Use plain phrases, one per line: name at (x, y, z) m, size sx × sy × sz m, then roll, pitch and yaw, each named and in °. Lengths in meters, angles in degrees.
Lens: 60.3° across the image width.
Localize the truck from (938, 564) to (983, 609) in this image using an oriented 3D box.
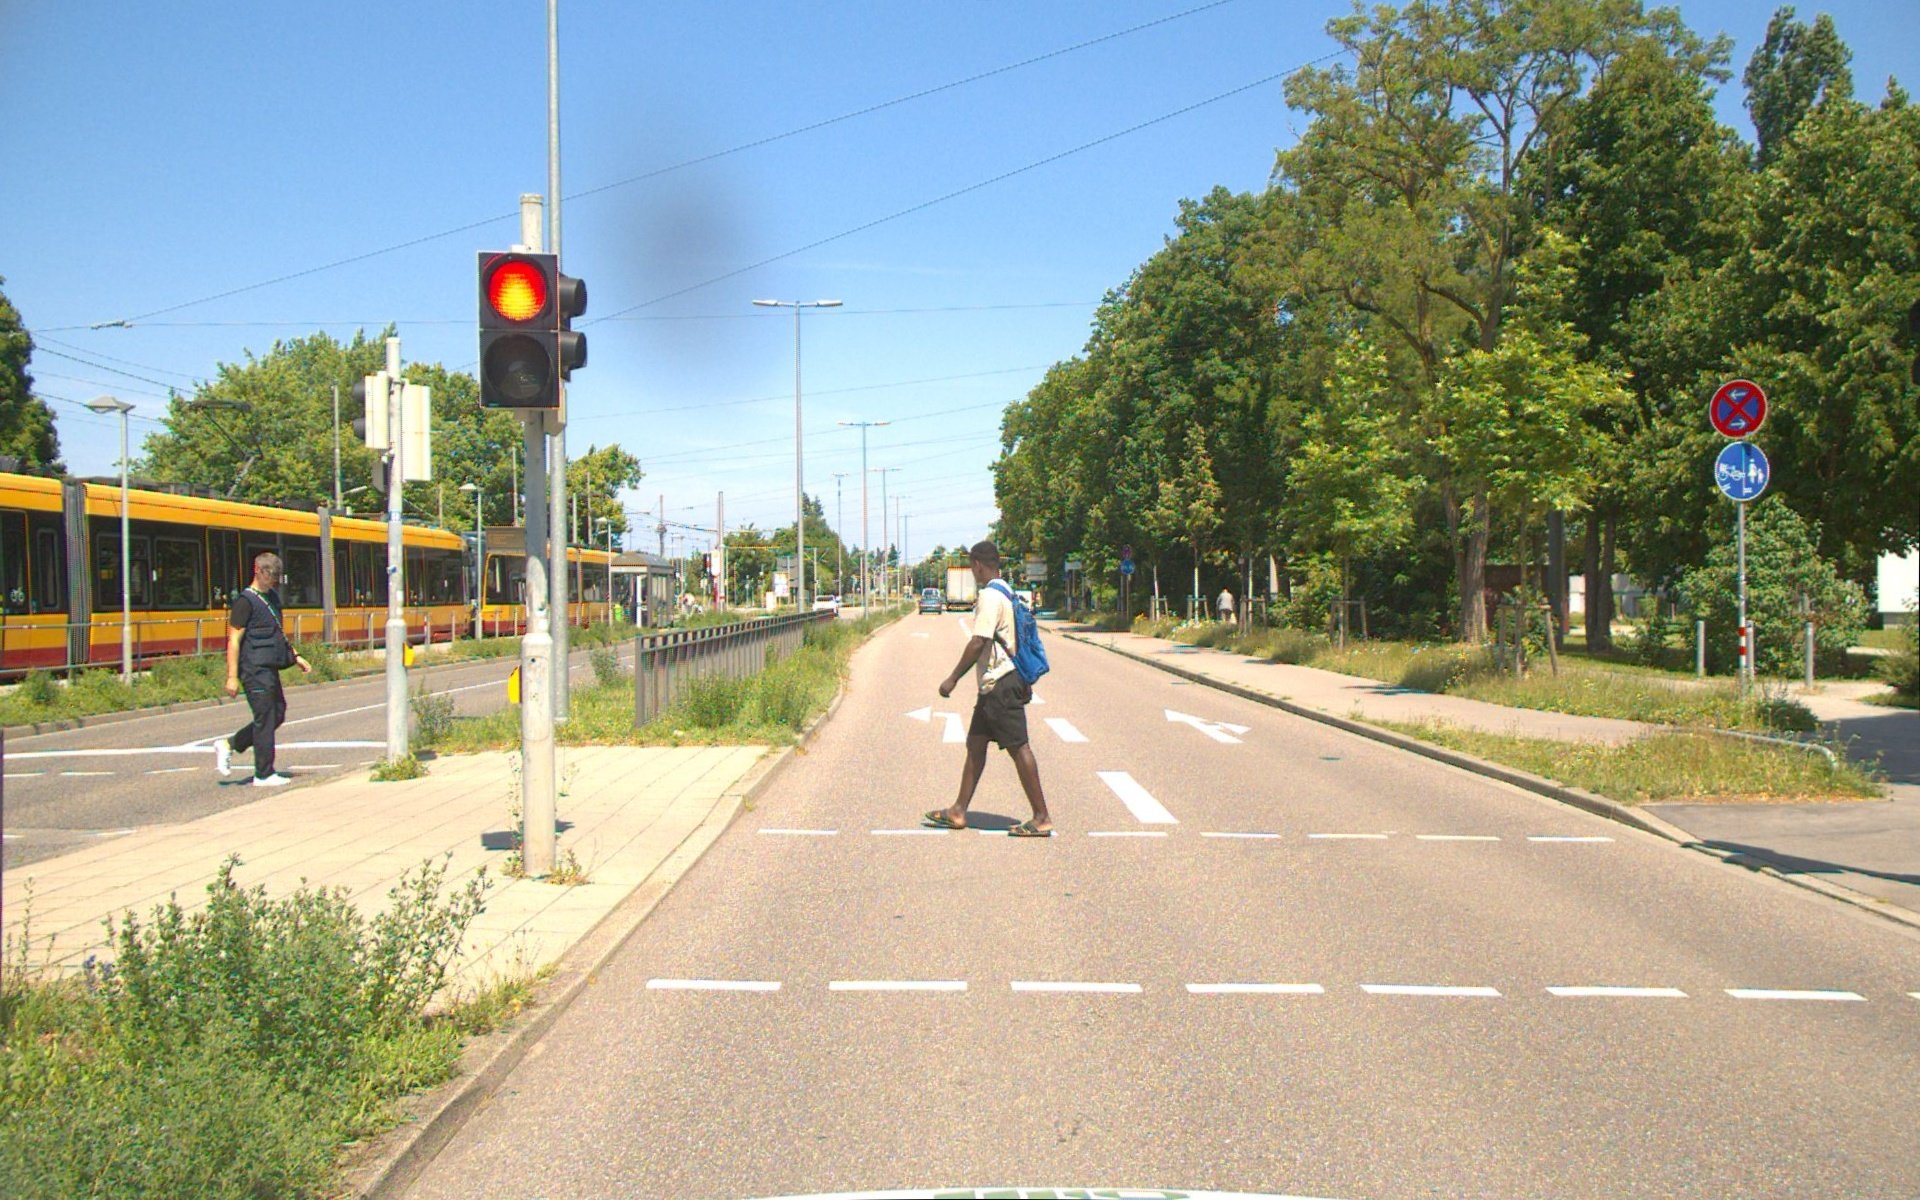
truck at (-0.029, -1.194, 148.465) m, size 3.820 × 3.879 × 10.790 m, roll 0°, pitch 0°, yaw -1°

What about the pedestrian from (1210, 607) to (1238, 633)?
pedestrian at (9.242, 0.689, 58.015) m, size 0.664 × 0.862 × 1.773 m, roll 0°, pitch 0°, yaw -1°

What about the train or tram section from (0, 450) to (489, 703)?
train or tram section at (-15.650, -0.369, 32.207) m, size 2.731 × 3.732 × 37.511 m, roll 0°, pitch 0°, yaw -1°

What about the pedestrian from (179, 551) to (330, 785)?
pedestrian at (-5.727, 0.526, 13.440) m, size 0.939 × 1.828 × 0.704 m, roll 0°, pitch 0°, yaw 28°

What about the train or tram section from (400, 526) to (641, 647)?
train or tram section at (-16.036, -0.452, 63.955) m, size 2.731 × 3.732 × 25.994 m, roll 0°, pitch 0°, yaw -1°

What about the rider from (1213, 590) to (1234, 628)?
rider at (9.238, 0.310, 58.003) m, size 0.664 × 1.304 × 0.533 m, roll 0°, pitch 0°, yaw -1°

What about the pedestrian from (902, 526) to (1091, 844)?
pedestrian at (0.240, 0.501, 10.301) m, size 1.024 × 1.882 × 0.758 m, roll 0°, pitch 0°, yaw 14°

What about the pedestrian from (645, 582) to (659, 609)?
pedestrian at (-22.283, -0.329, 119.673) m, size 0.846 × 1.998 × 0.873 m, roll 0°, pitch 0°, yaw -1°

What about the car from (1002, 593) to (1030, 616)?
car at (3.750, 0.302, 111.715) m, size 1.766 × 1.567 × 4.000 m, roll 0°, pitch 0°, yaw -1°

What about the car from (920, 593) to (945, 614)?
car at (-2.002, 0.269, 121.559) m, size 1.765 × 1.512 × 4.000 m, roll 0°, pitch 0°, yaw 0°

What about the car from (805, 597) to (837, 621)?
car at (-9.896, 0.639, 117.886) m, size 1.953 × 1.679 × 3.999 m, roll 0°, pitch 0°, yaw -1°

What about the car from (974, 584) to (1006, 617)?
car at (1.792, 0.034, 96.561) m, size 1.692 × 1.845 × 4.002 m, roll 1°, pitch 0°, yaw 3°
